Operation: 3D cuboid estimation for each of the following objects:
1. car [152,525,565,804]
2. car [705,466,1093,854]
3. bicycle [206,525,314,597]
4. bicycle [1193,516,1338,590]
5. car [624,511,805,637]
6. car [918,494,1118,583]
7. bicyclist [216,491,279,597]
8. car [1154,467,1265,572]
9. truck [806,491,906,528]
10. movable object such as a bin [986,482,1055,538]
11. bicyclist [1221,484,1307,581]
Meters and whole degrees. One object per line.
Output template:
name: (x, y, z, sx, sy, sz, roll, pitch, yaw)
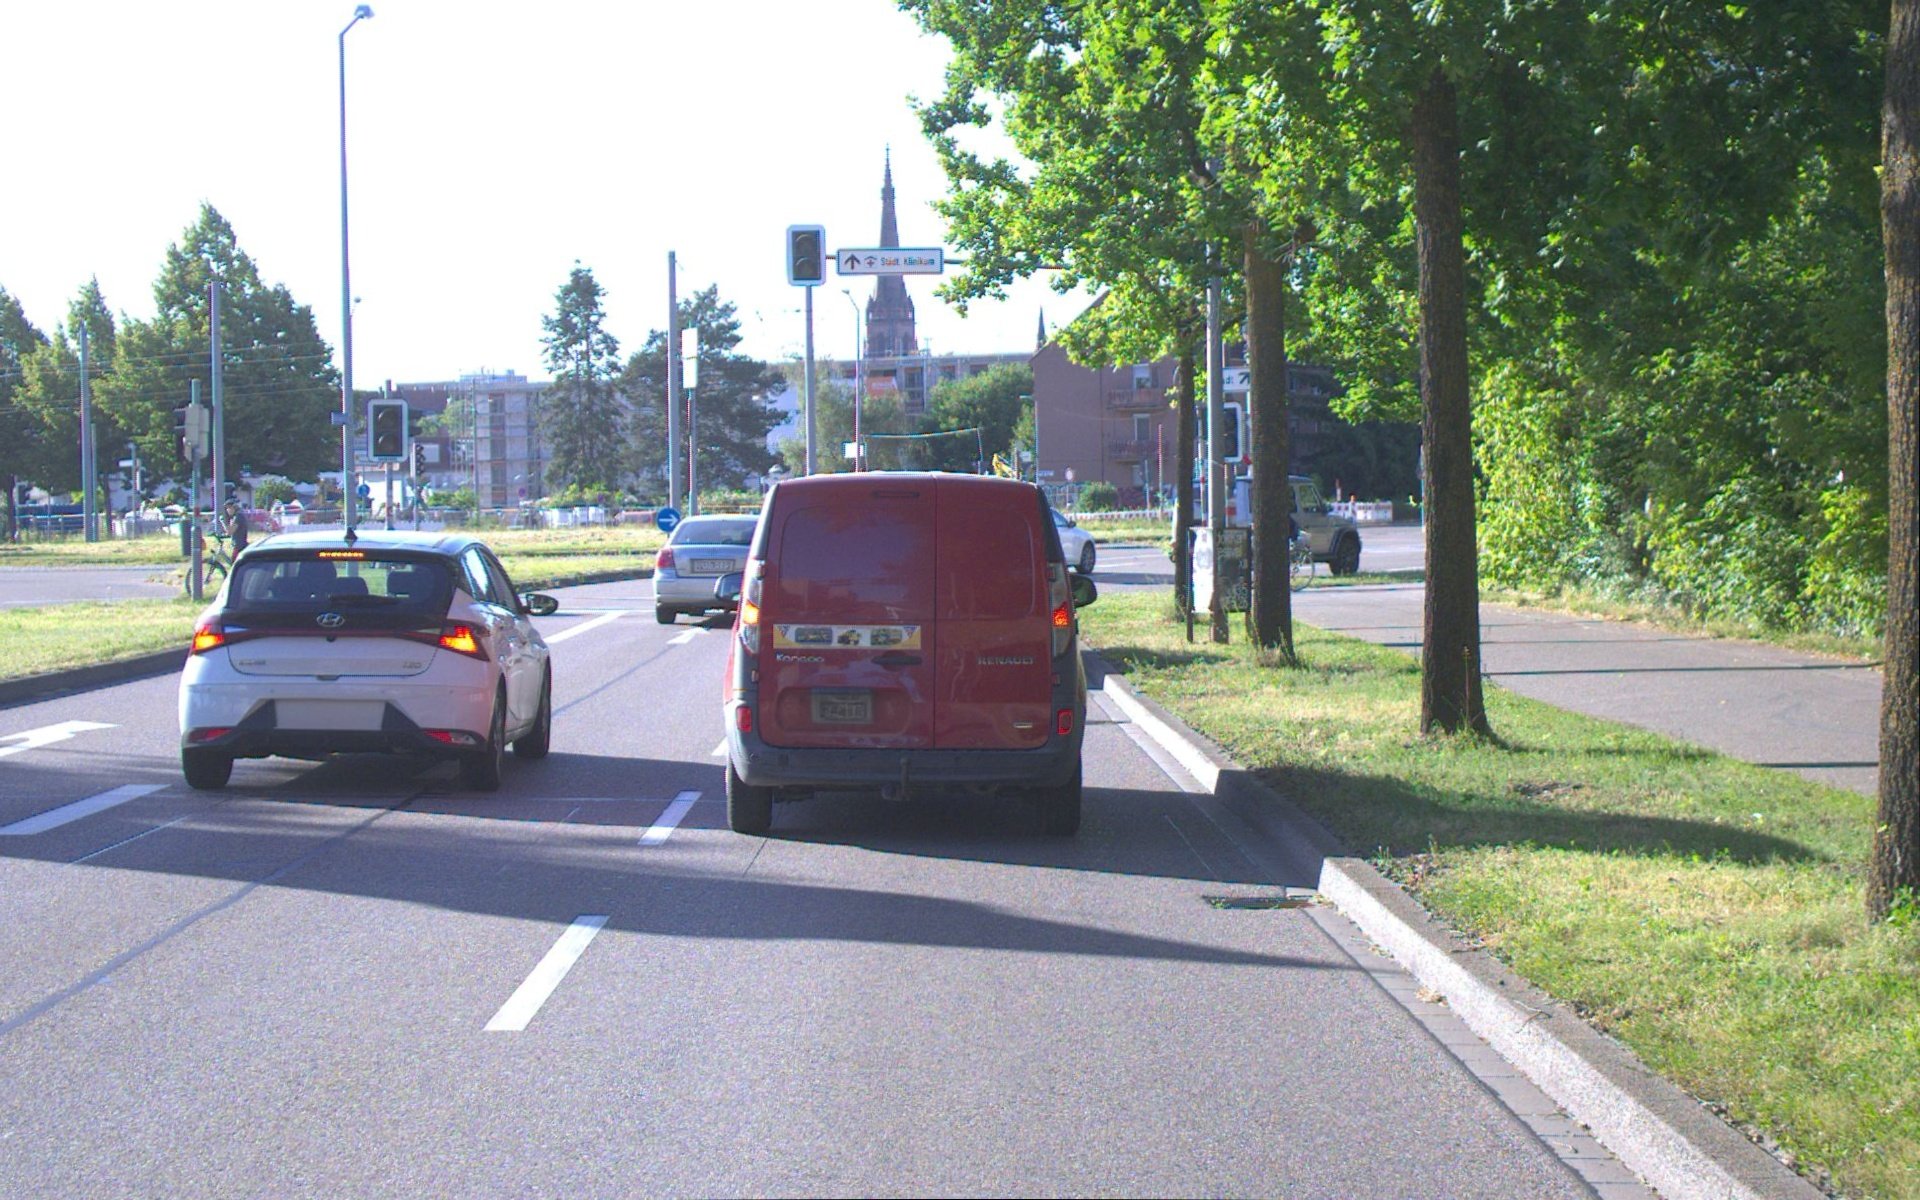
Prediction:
car: (-3.448, 0.306, 20.365, 1.802, 1.456, 3.810, 1, 1, -1)
car: (-0.270, 0.235, 18.119, 1.802, 1.807, 3.810, 1, 1, 1)
bicycle: (-11.082, -0.618, 54.494, 1.649, 1.124, 0.704, 0, 1, -10)
bicycle: (5.072, -0.783, 57.118, 2.209, 1.151, 0.876, -3, 1, -23)
car: (-3.298, -0.397, 46.996, 1.993, 1.569, 4.408, -1, 2, 2)
car: (1.179, -1.223, 67.427, 1.997, 1.633, 4.401, 0, 2, 30)
bicyclist: (-11.278, -0.885, 54.447, 0.939, 1.657, 0.704, 0, 1, -10)
car: (4.682, -1.509, 64.897, 1.997, 1.890, 4.752, 0, 1, 4)
truck: (-5.919, -5.085, 193.911, 2.165, 2.007, 6.434, 0, 1, -39)
movable object such as a bin: (3.107, -4.597, 176.226, 2.418, 2.764, 4.001, 1, 1, -16)
bicyclist: (5.042, -1.111, 57.100, 1.084, 1.556, 0.876, -2, 1, -23)
